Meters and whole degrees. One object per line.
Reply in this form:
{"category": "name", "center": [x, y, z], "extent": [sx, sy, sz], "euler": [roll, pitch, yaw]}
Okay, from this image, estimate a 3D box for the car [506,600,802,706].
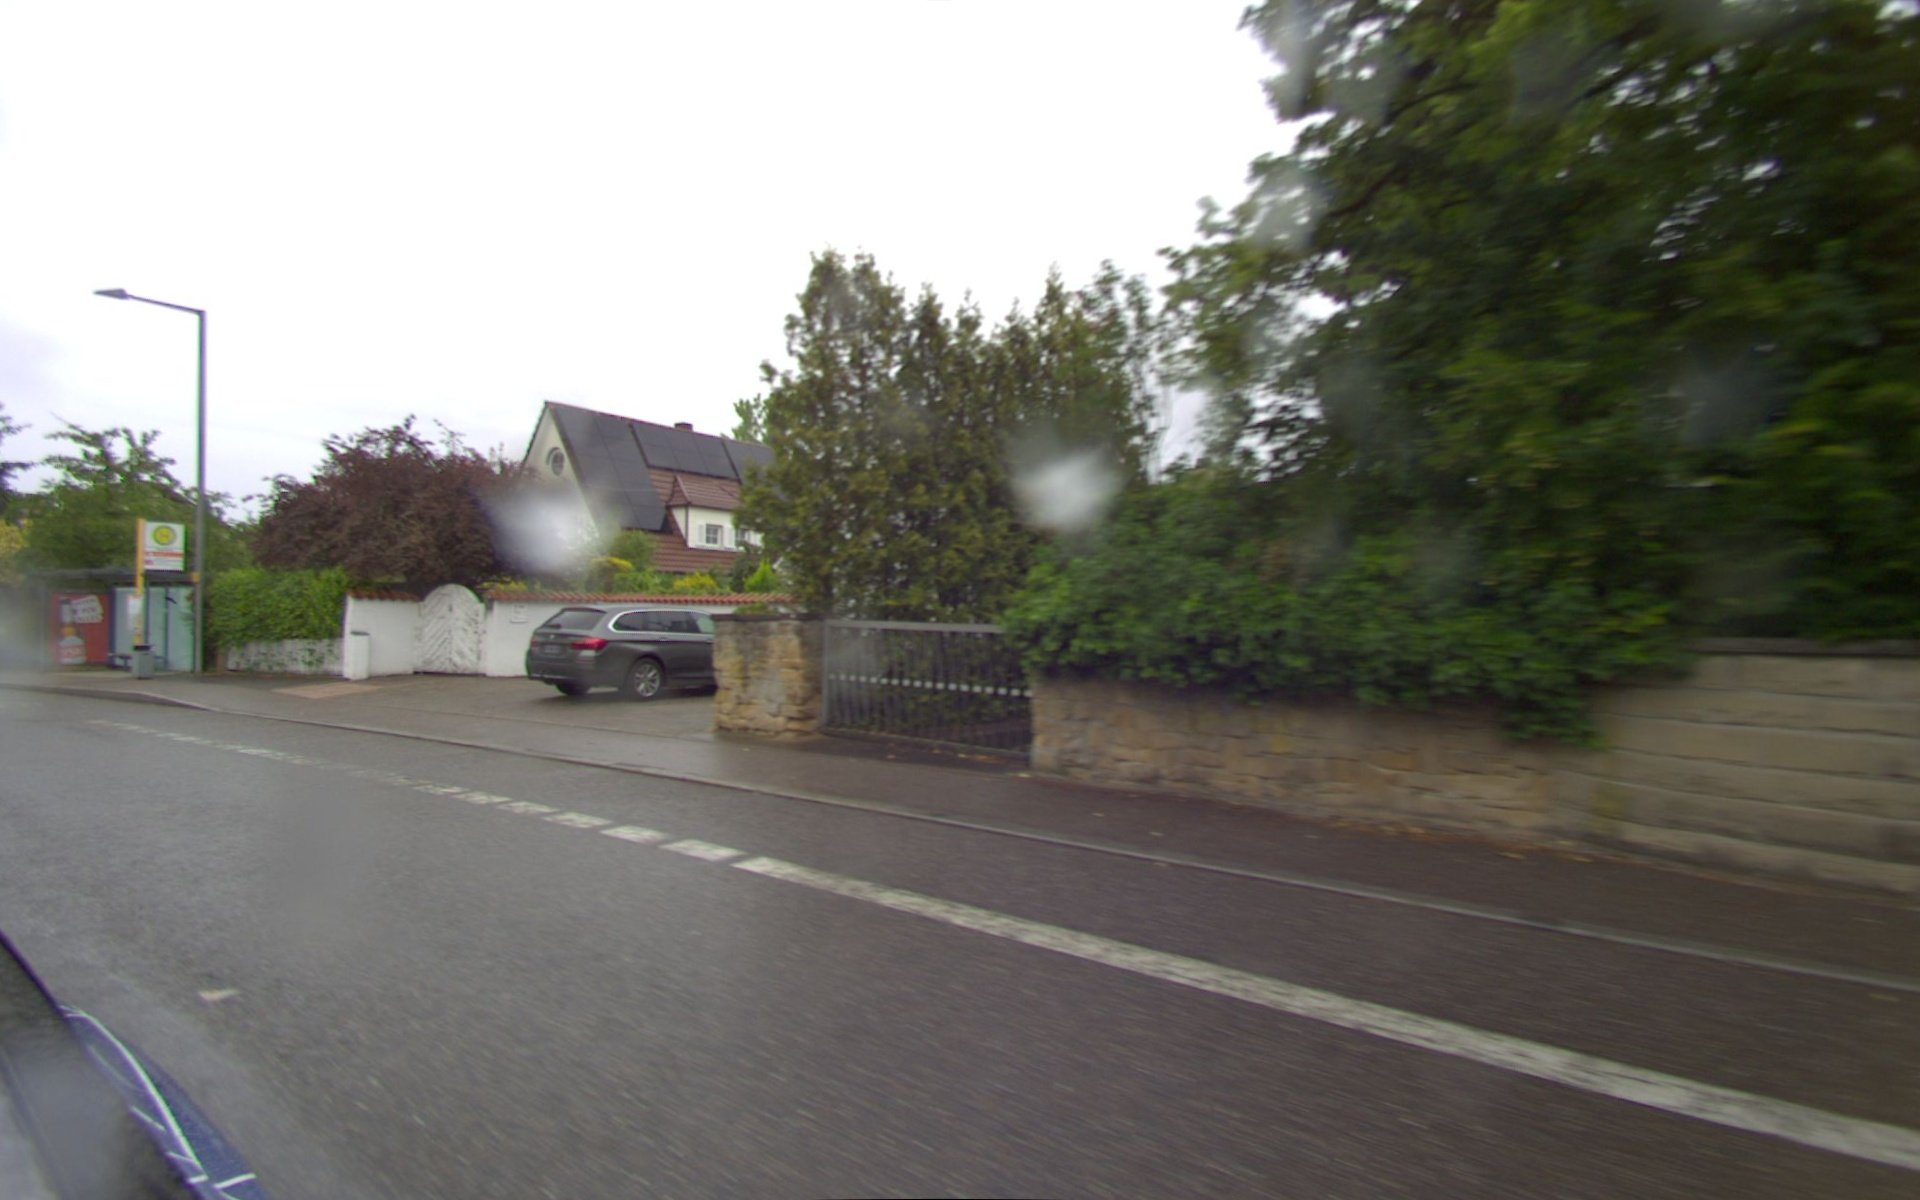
{"category": "car", "center": [-4.810, 0.776, 16.549], "extent": [1.834, 1.487, 4.502], "euler": [-2, -1, 34]}
